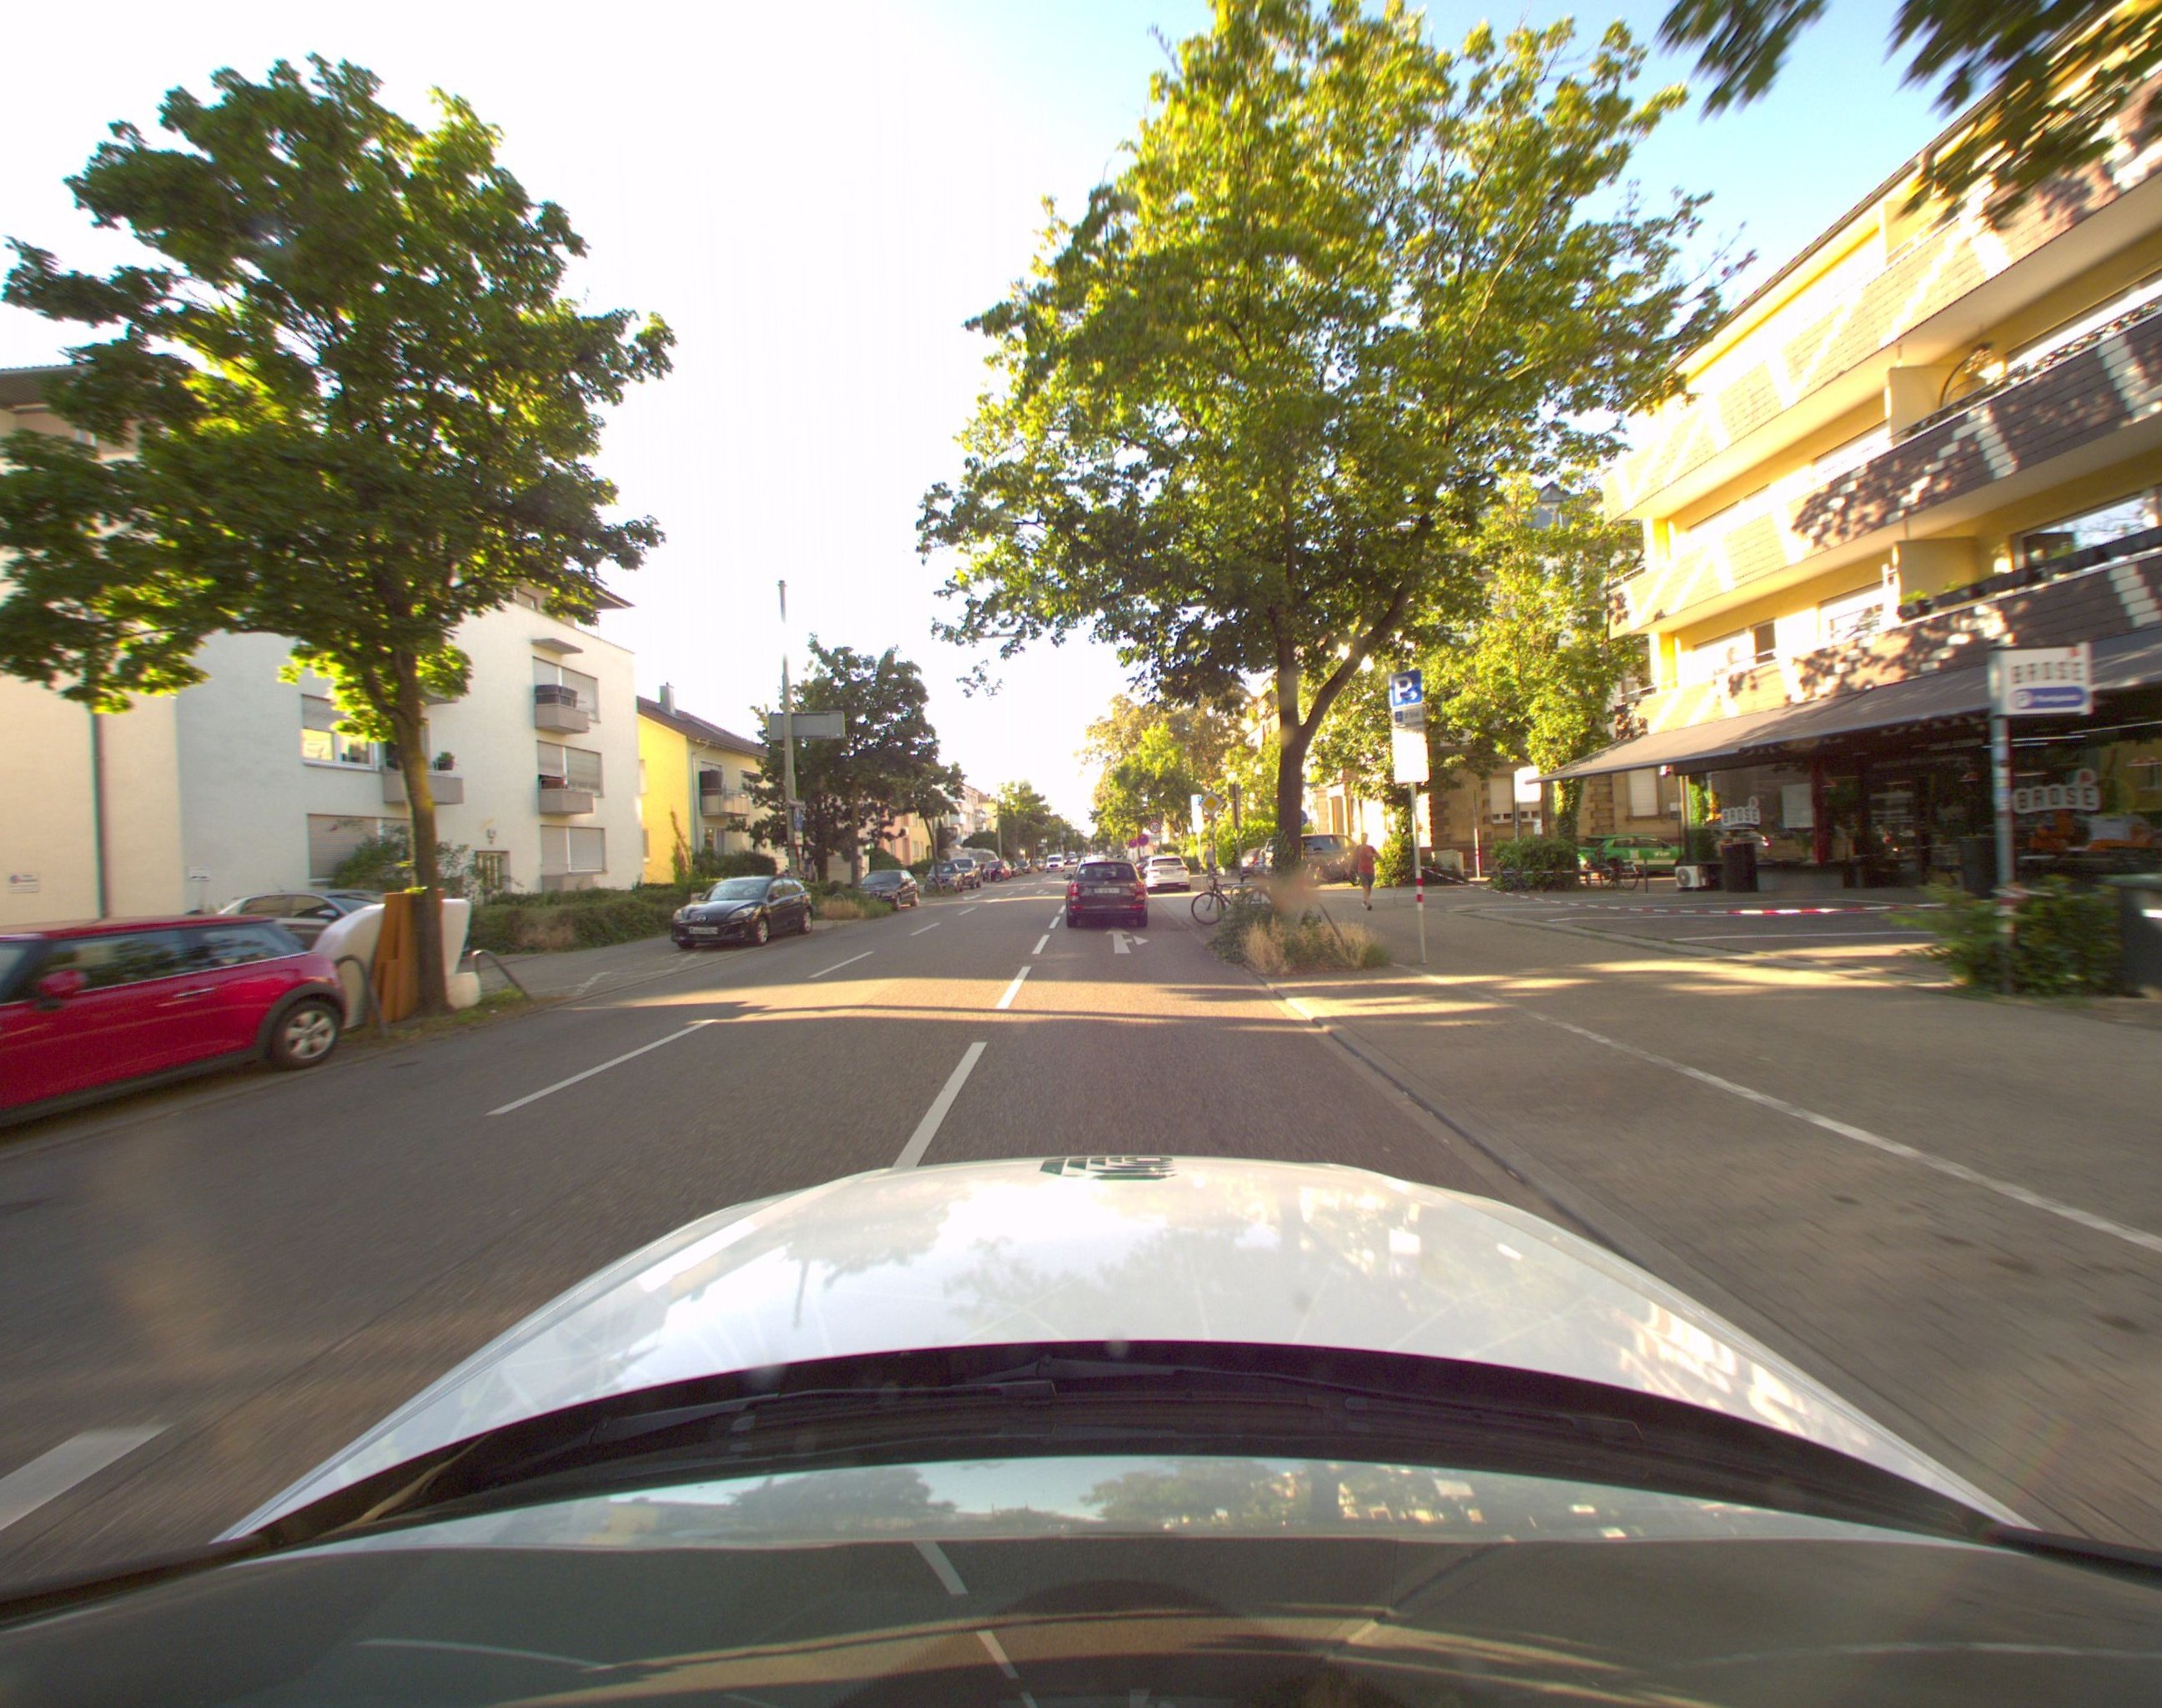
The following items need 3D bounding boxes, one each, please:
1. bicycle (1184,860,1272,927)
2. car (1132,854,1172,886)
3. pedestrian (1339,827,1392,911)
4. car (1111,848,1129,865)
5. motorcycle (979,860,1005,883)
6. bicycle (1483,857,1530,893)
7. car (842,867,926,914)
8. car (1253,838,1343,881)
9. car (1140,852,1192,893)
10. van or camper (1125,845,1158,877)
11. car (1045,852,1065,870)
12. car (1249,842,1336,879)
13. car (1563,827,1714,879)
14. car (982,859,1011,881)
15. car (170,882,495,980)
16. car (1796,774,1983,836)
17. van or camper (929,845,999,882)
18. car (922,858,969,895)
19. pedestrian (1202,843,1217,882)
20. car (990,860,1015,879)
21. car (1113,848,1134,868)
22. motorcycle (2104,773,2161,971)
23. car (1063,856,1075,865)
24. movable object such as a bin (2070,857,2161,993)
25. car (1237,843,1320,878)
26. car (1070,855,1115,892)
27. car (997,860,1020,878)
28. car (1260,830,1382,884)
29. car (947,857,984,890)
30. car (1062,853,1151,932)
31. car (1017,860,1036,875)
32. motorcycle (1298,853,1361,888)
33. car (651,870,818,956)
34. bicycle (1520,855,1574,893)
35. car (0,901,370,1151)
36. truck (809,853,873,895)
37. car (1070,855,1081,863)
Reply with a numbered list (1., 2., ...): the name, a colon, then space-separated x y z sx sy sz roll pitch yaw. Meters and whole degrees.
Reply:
1. bicycle: 3.047 0.806 16.832 1.659 1.226 0.638 -5 0 13
2. car: 3.511 0.768 41.055 1.813 1.413 4.114 -3 0 3
3. pedestrian: 6.320 0.321 18.109 0.754 1.796 0.905 -3 0 -4
4. car: 4.376 0.309 92.287 1.724 1.815 3.950 -3 0 0
5. motorcycle: -6.302 1.245 57.590 0.771 1.512 2.006 -3 0 -42
6. bicycle: 11.568 0.550 22.169 0.341 0.950 1.579 0 -1 -4
7. car: -6.997 1.253 29.411 1.748 1.420 4.427 -3 0 2
8. car: 9.587 0.242 35.878 3.823 1.679 1.498 -3 0 -29
9. car: 3.346 0.698 32.593 1.813 1.413 4.114 -3 0 3
10. van or camper: 4.158 0.460 56.491 1.986 2.013 4.001 -3 0 1
11. car: -2.760 0.756 86.564 1.870 1.757 4.179 -3 0 1
12. car: 9.994 0.312 38.490 3.814 1.525 1.501 -3 0 -21
13. car: 19.311 -0.051 28.362 3.903 1.585 1.930 -3 0 1
14. car: -6.453 1.225 62.559 1.658 1.512 4.179 -3 0 1
15. car: -13.574 1.356 15.009 3.978 1.479 1.998 -2 0 -3
16. car: 21.775 -1.294 22.035 3.334 1.418 1.661 -3 0 1
17. van or camper: -13.460 1.122 93.852 7.618 3.874 1.999 -3 0 -1
18. car: -7.037 1.148 42.599 1.744 1.740 3.591 -3 0 1
19. pedestrian: 6.082 0.412 38.579 0.533 1.794 0.688 -3 0 3
20. car: -6.546 1.278 68.250 1.658 1.432 3.276 -3 0 1
21. car: 4.172 0.386 79.793 1.724 1.815 3.950 -3 0 0
22. motorcycle: 9.889 0.101 6.528 2.182 1.621 0.732 -3 0 7
23. car: -2.186 1.234 151.807 1.986 1.508 4.001 -3 0 1
24. movable object such as a bin: 8.067 0.512 6.108 0.610 0.949 0.540 -3 0 1
25. car: 9.831 0.308 40.615 3.814 1.525 1.501 -3 0 -21
26. car: 0.477 0.822 36.340 1.725 1.493 3.947 -3 0 -3
27. car: -6.427 1.303 72.795 1.658 1.432 3.276 -3 0 1
28. car: 9.599 0.090 32.495 4.558 1.892 1.898 -3 0 -27
29. car: -6.672 1.095 47.263 1.502 1.757 3.694 -3 0 1
30. car: 0.573 0.770 18.262 1.723 1.493 3.952 -3 0 2
31. car: -5.608 1.378 83.961 1.658 1.432 3.276 -3 0 1
32. motorcycle: 8.826 0.571 28.917 2.047 1.125 0.524 -3 0 -5
33. car: -7.425 1.187 17.960 1.711 1.497 4.249 -3 0 1
34. bicycle: 12.328 0.516 21.576 0.341 0.950 1.579 -5 0 -4
35. car: -7.732 1.208 5.908 1.711 1.421 3.787 -3 0 1
36. truck: -12.973 1.059 44.093 2.904 2.093 1.546 -3 0 0
37. car: -1.169 1.096 165.517 1.986 1.508 4.001 -3 0 1
